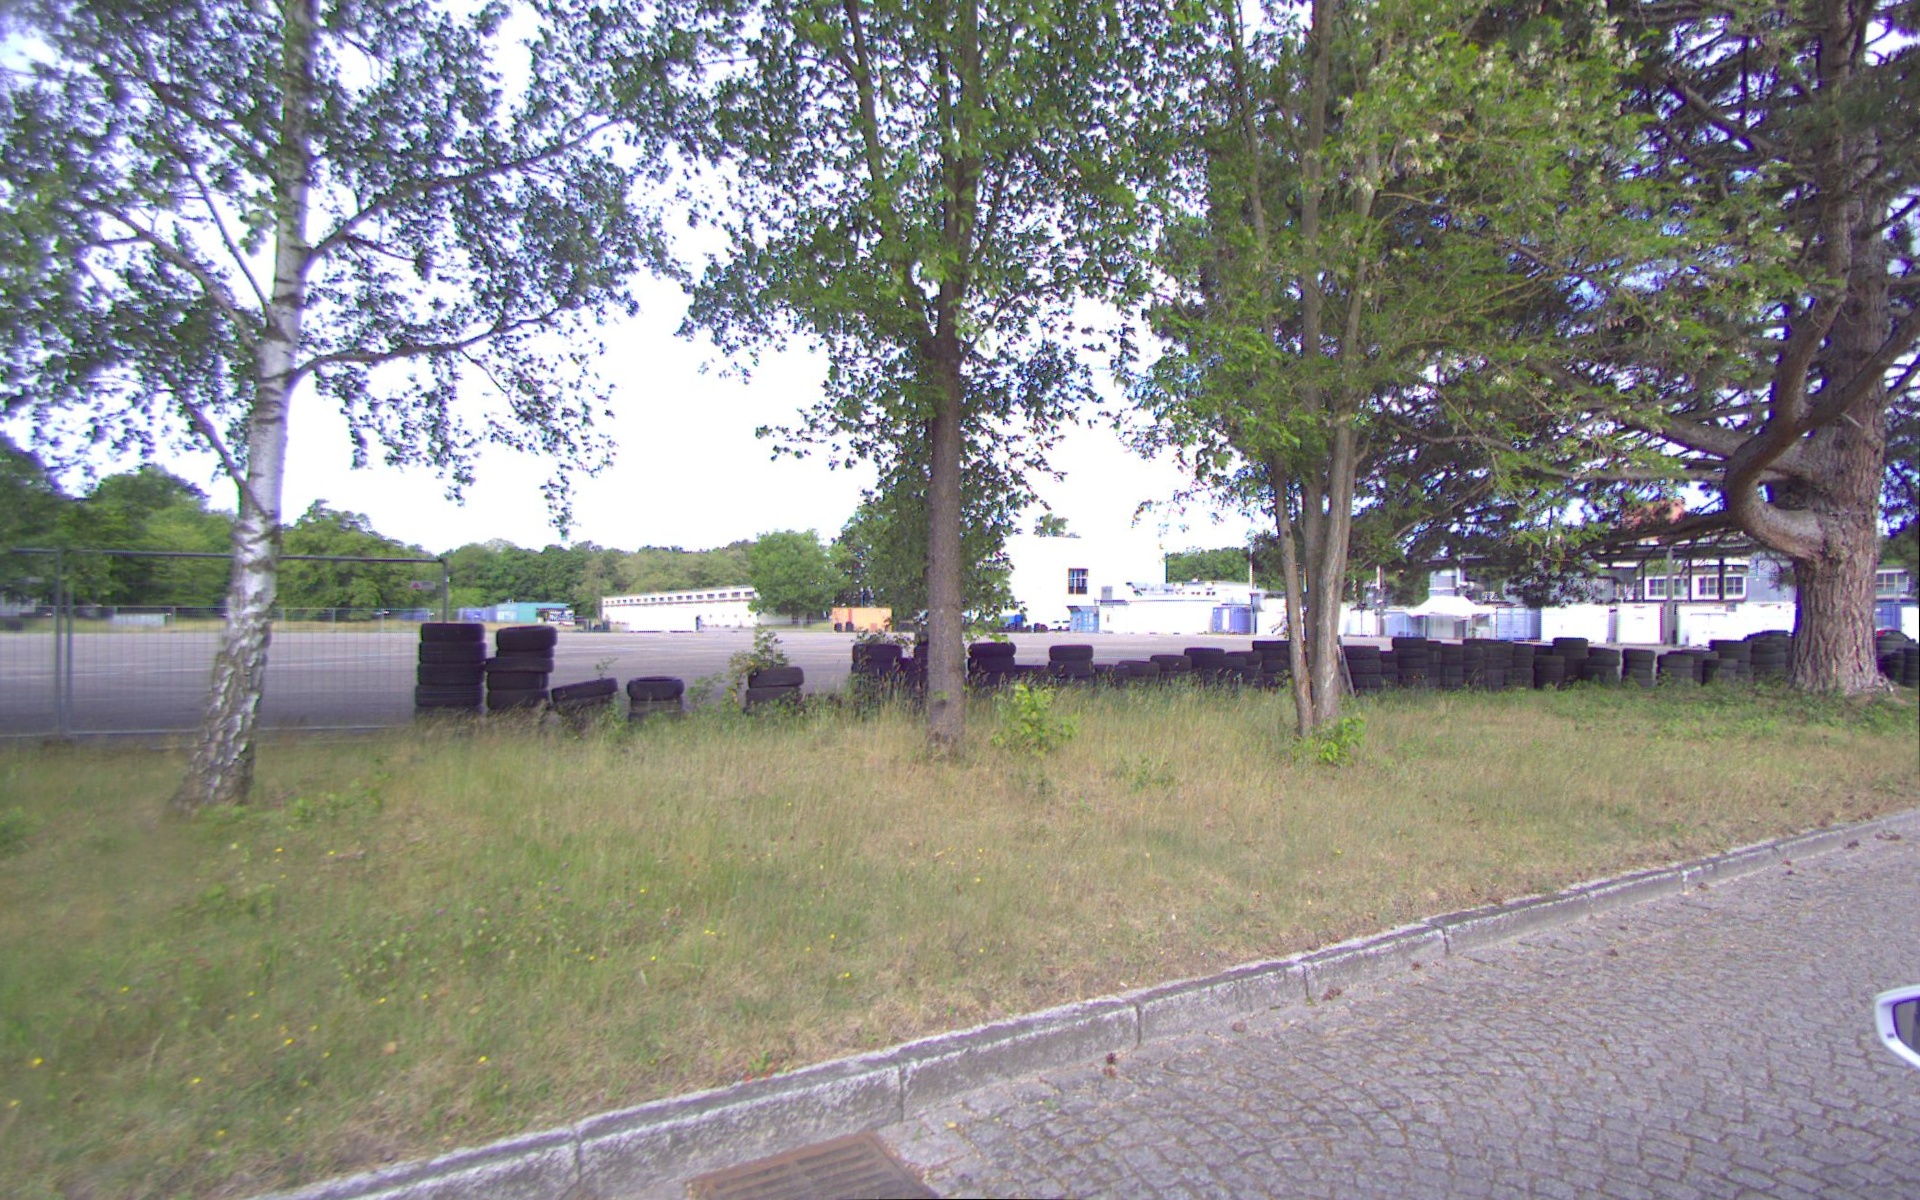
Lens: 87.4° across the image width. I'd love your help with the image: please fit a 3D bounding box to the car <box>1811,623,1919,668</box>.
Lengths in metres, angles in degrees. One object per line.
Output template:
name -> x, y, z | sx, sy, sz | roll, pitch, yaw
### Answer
car -> 31.377, 1.535, 34.443 | 4.162, 1.450, 1.818 | 1, -1, -25
